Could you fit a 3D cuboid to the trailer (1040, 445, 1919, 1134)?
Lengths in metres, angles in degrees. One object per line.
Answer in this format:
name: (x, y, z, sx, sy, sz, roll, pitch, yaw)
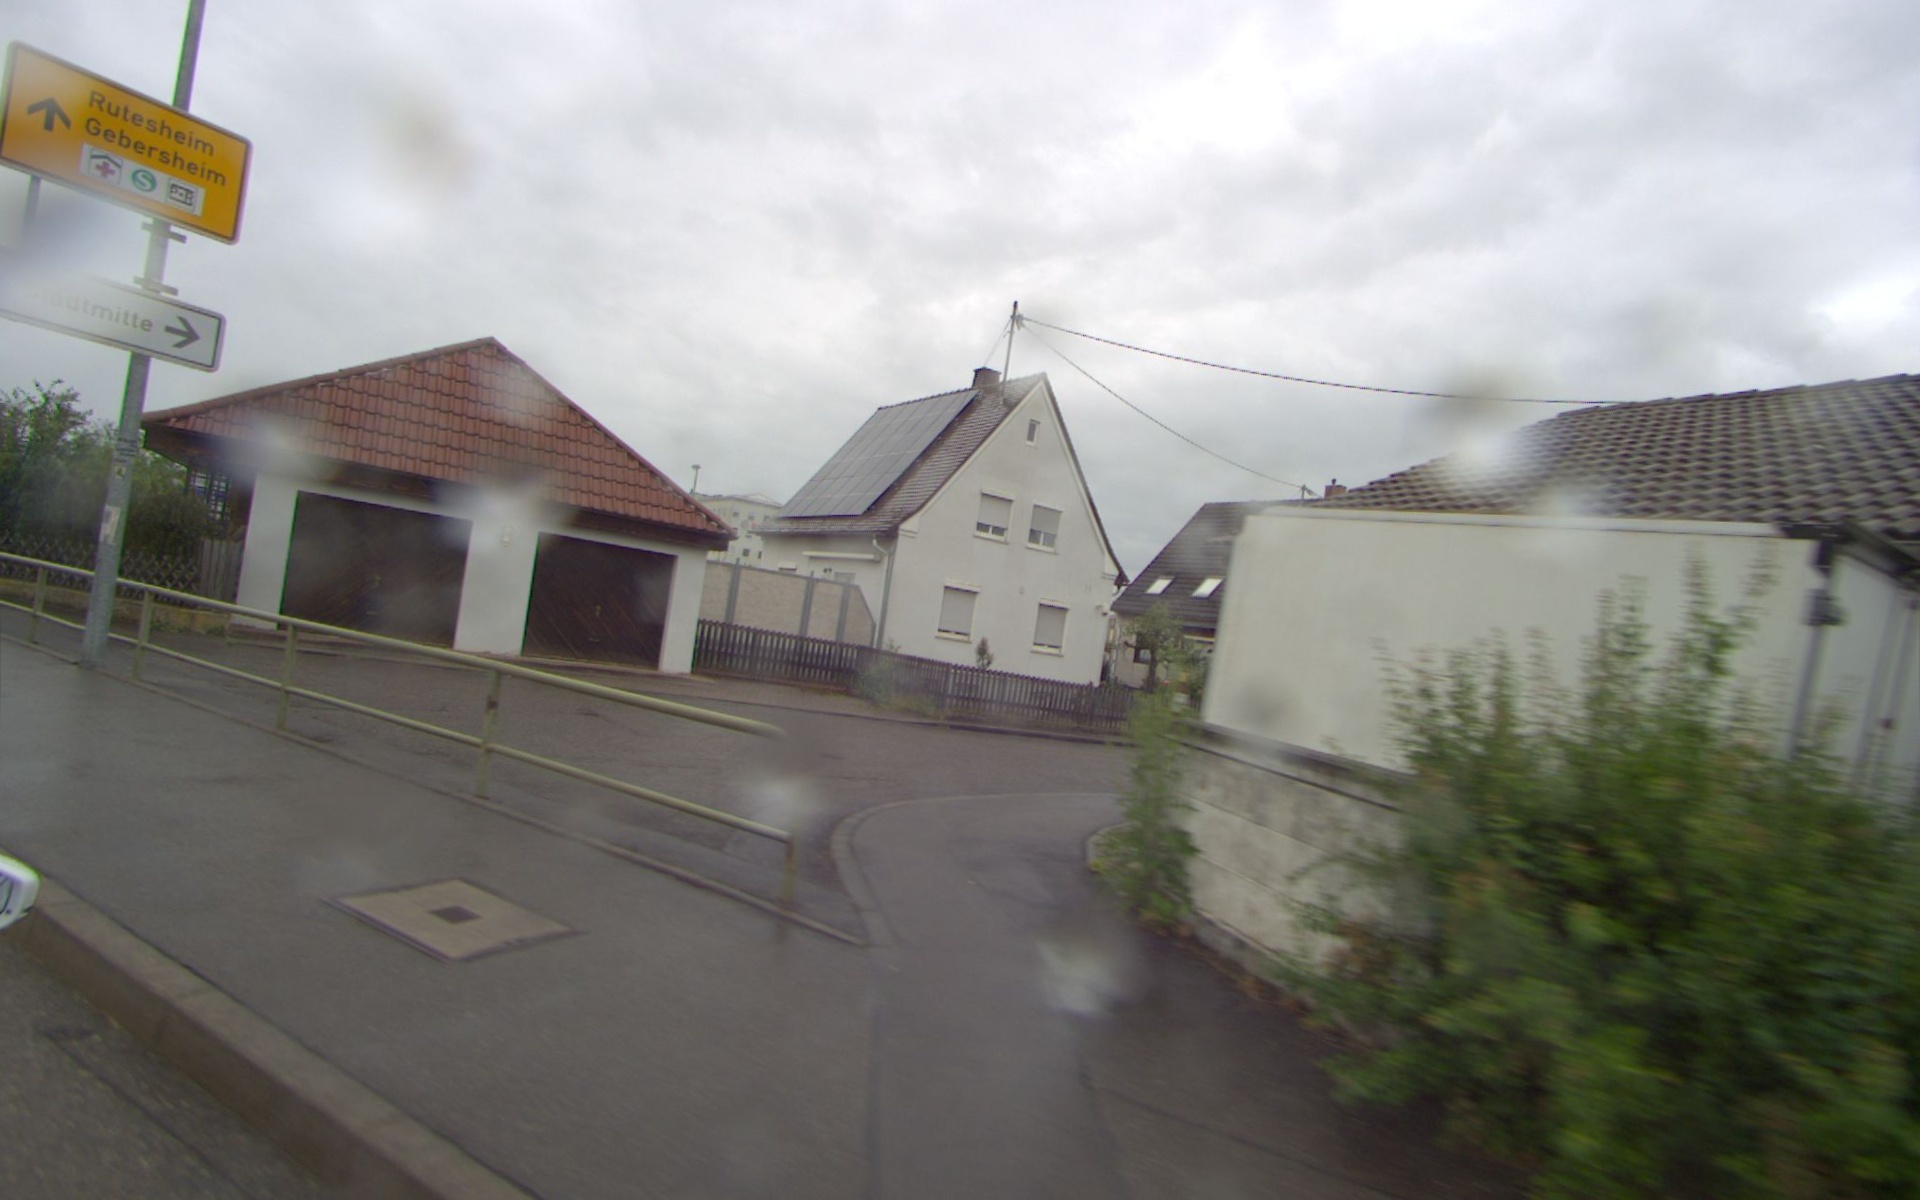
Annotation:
trailer: (2.633, 0.726, 6.140, 1.633, 2.546, 4.668, 9, -2, -30)
